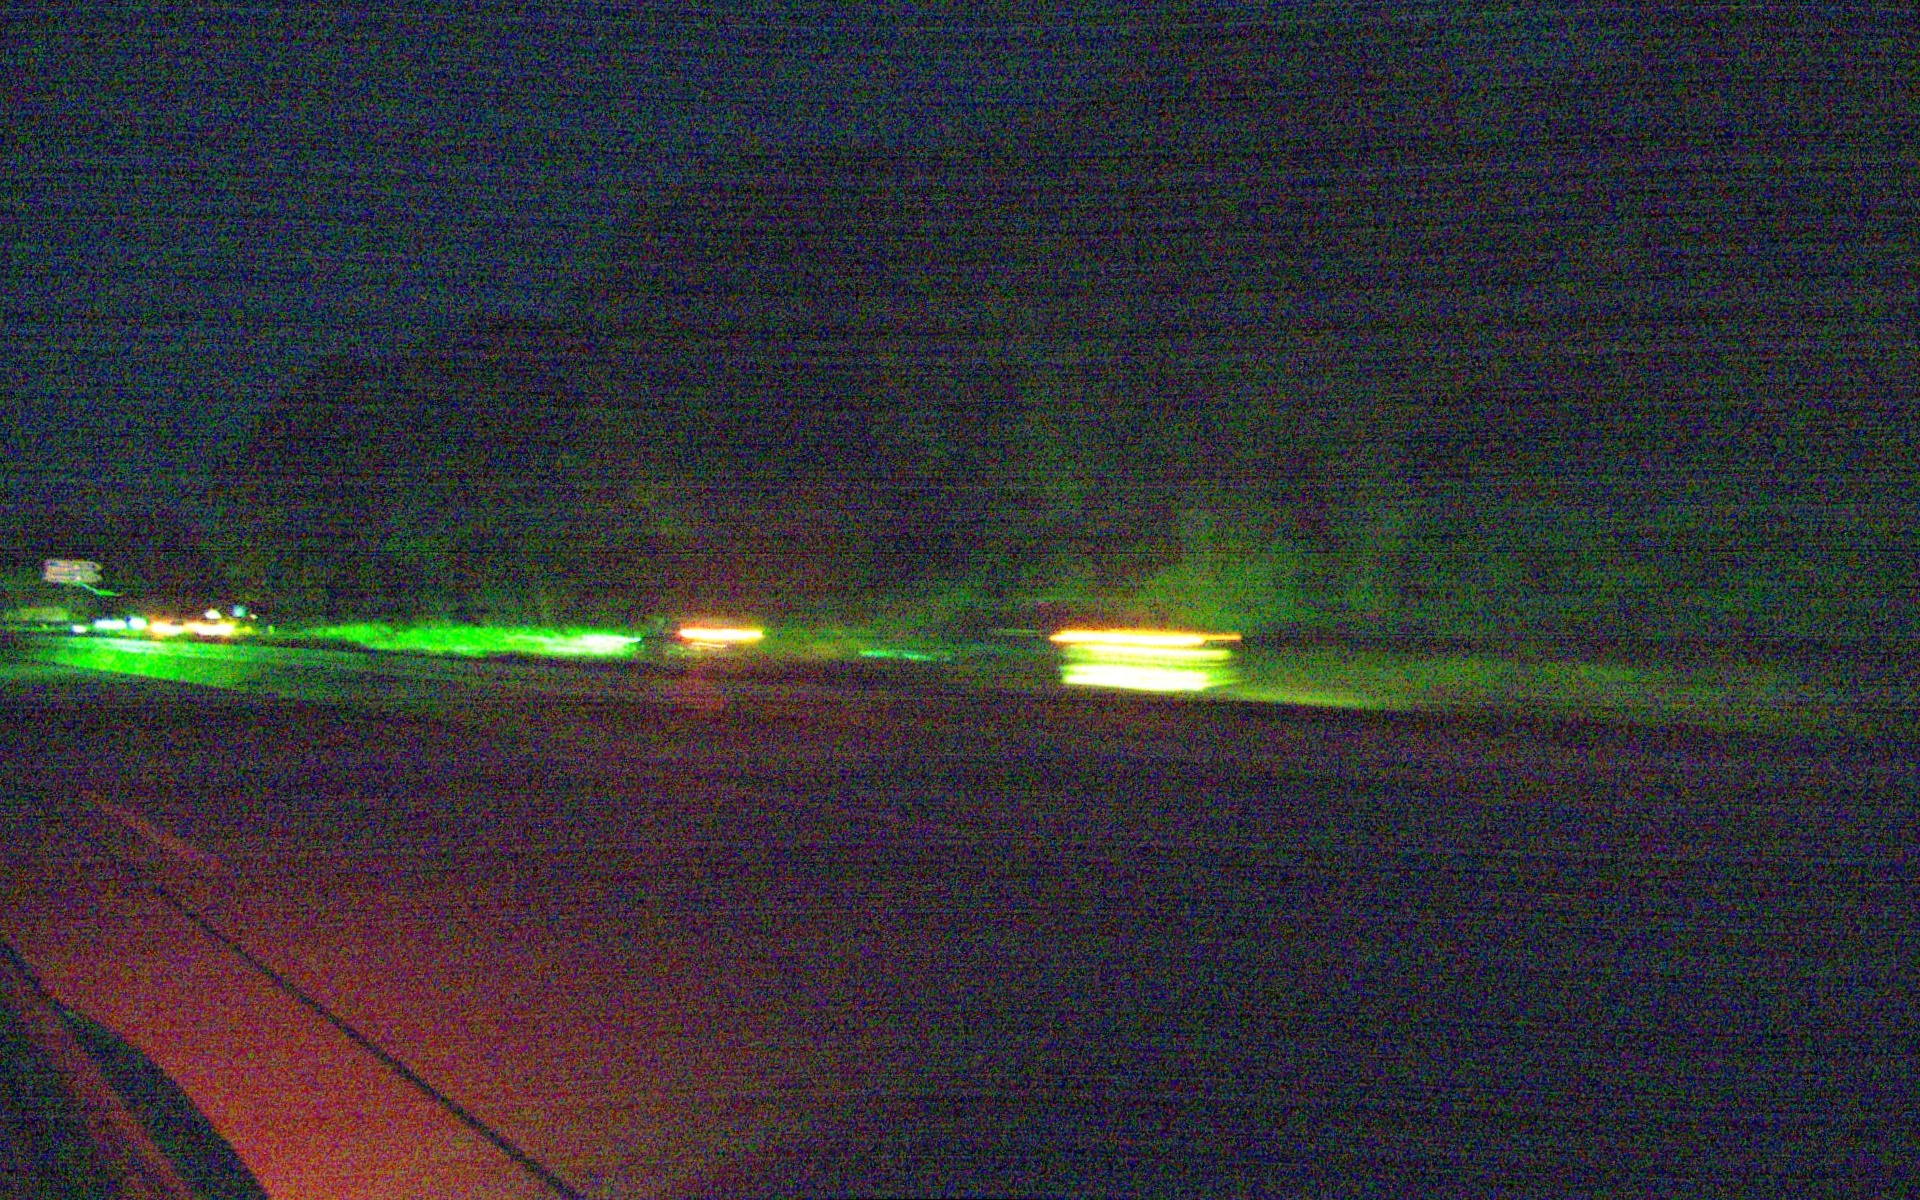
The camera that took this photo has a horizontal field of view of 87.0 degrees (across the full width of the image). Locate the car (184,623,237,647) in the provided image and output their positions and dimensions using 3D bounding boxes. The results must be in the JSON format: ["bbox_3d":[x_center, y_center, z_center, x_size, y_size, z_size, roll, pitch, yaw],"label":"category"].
[{"bbox_3d":[-48.372,2.229,65.285,4.169,1.468,1.937,-1,-2,42],"label":"car"}]

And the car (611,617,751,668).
[{"bbox_3d":[-8.749,1.261,31.507,4.840,1.422,1.754,-1,0,40],"label":"car"}]

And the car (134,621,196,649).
[{"bbox_3d":[-43.677,1.886,55.547,4.470,1.468,1.937,-1,-2,42],"label":"car"}]

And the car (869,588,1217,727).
[{"bbox_3d":[1.075,0.791,15.162,5.078,1.747,1.937,-1,-2,42],"label":"car"}]
